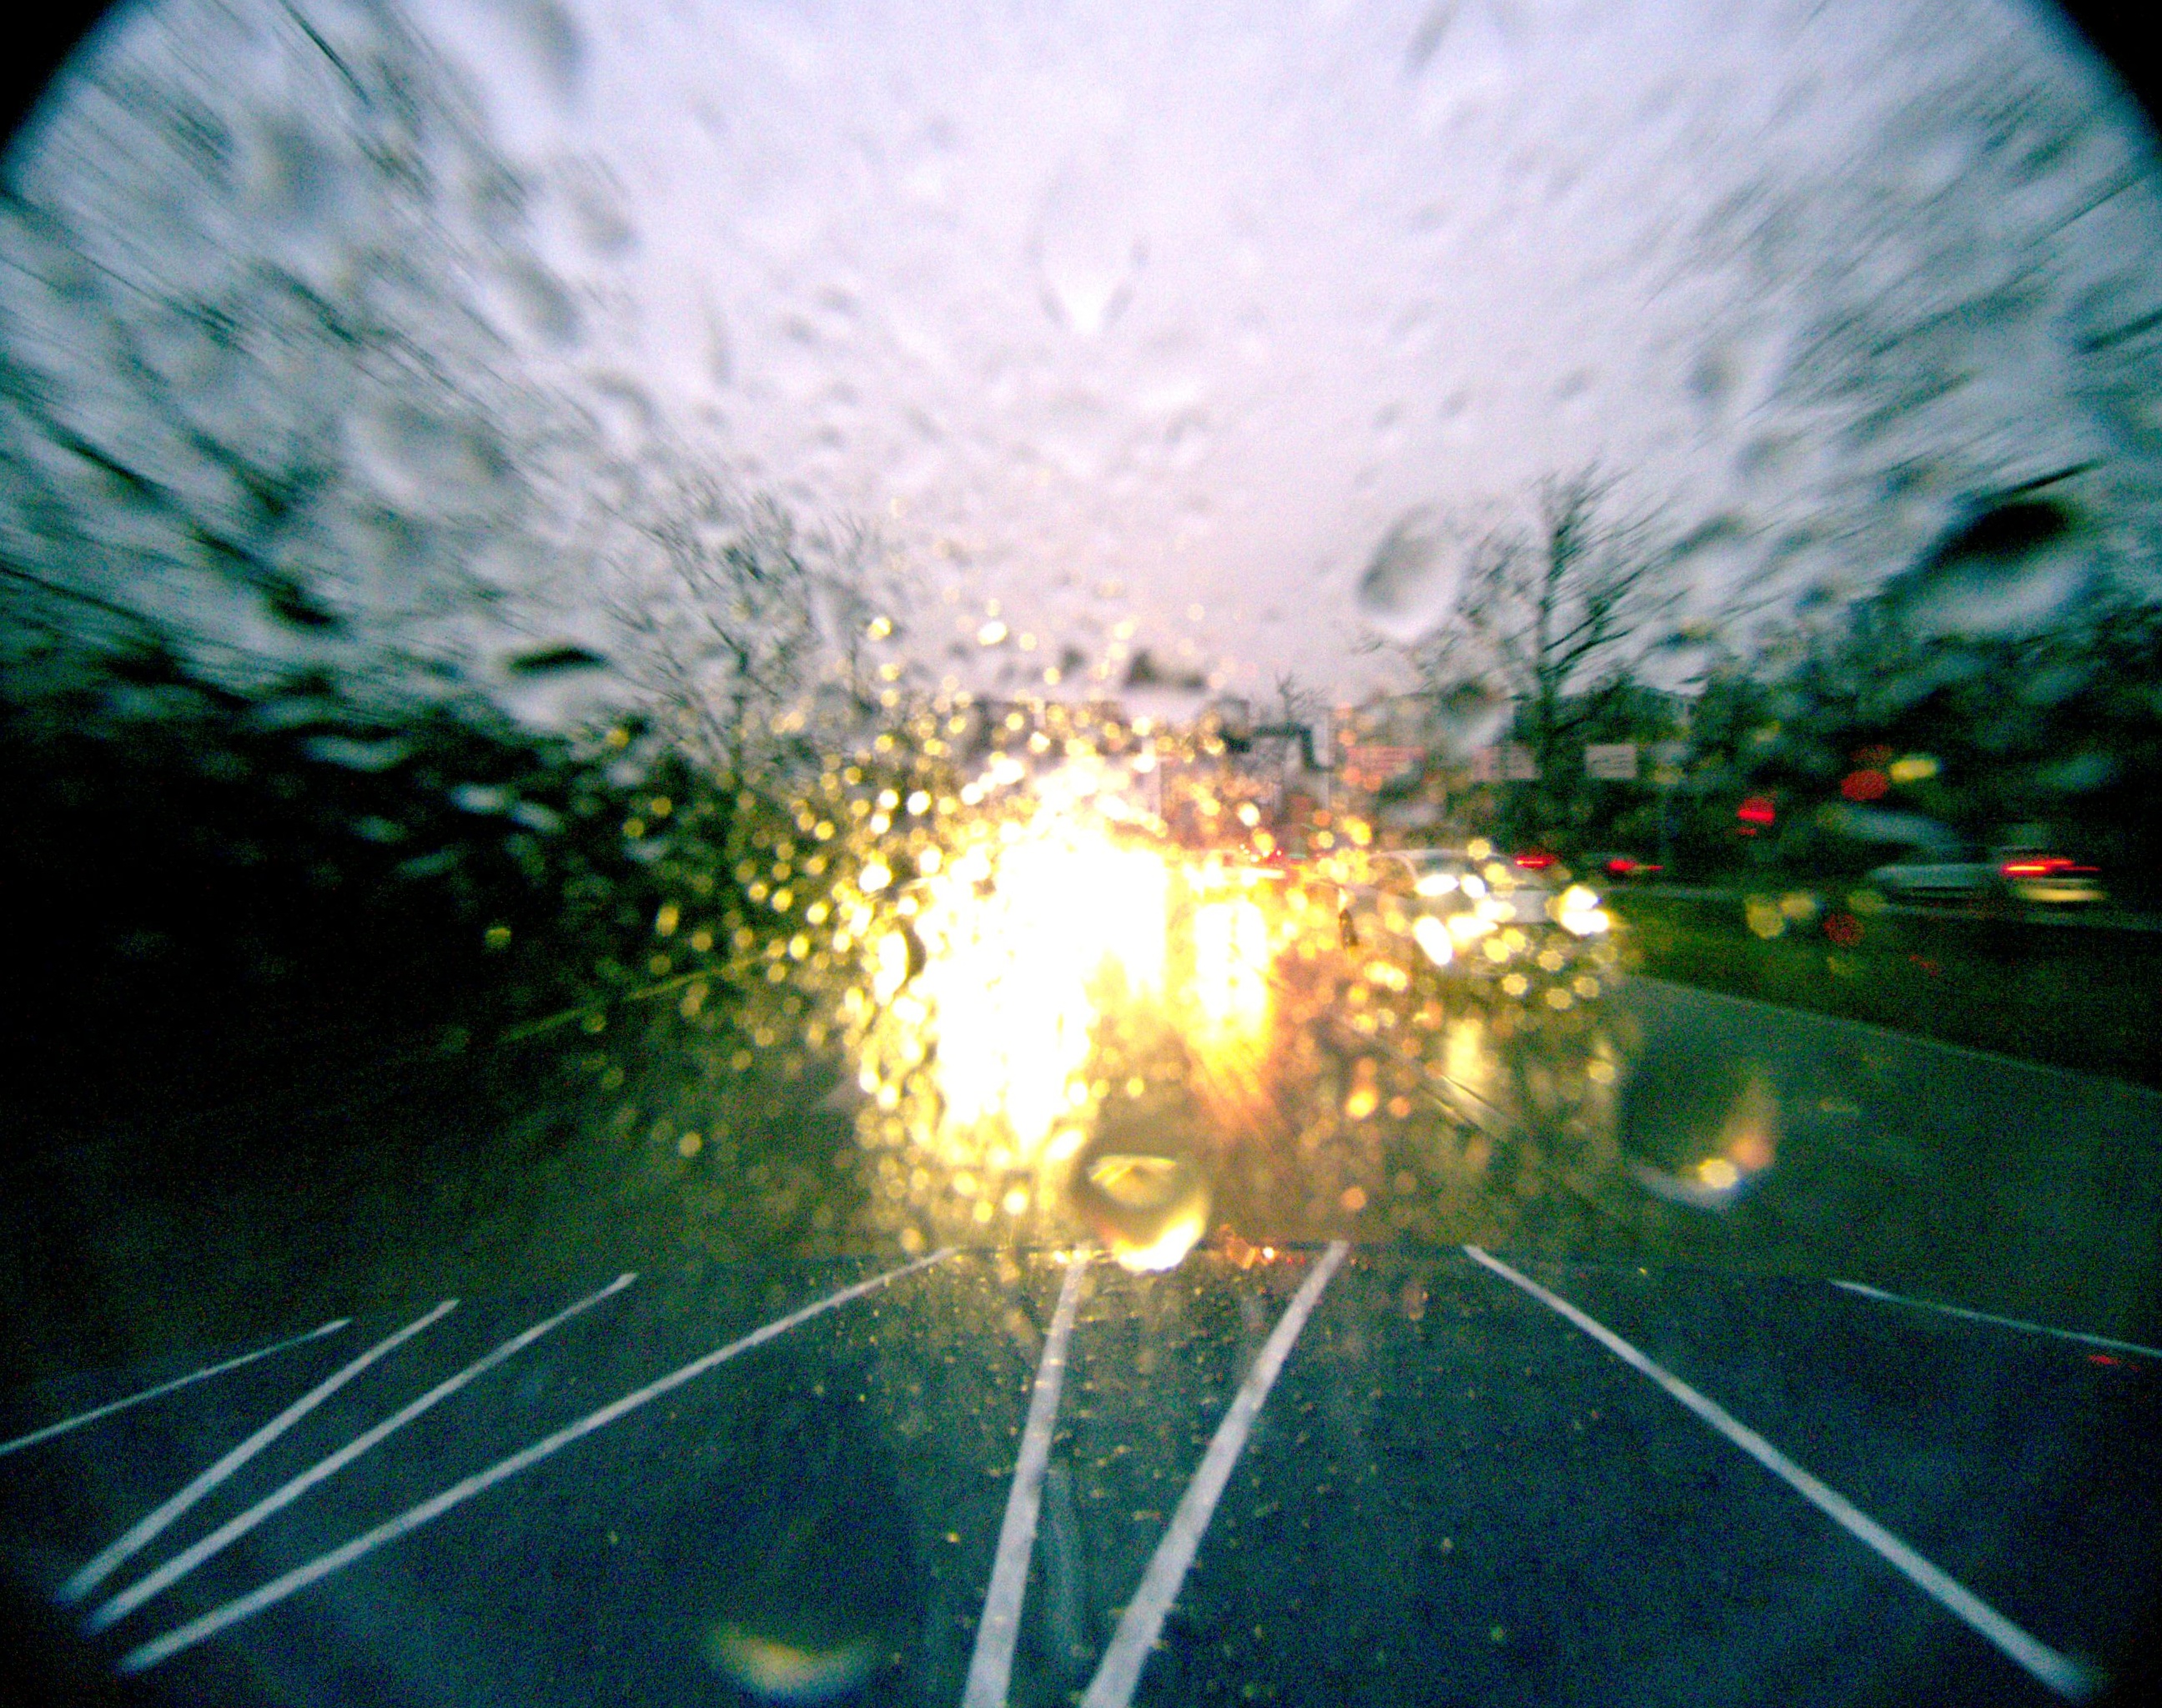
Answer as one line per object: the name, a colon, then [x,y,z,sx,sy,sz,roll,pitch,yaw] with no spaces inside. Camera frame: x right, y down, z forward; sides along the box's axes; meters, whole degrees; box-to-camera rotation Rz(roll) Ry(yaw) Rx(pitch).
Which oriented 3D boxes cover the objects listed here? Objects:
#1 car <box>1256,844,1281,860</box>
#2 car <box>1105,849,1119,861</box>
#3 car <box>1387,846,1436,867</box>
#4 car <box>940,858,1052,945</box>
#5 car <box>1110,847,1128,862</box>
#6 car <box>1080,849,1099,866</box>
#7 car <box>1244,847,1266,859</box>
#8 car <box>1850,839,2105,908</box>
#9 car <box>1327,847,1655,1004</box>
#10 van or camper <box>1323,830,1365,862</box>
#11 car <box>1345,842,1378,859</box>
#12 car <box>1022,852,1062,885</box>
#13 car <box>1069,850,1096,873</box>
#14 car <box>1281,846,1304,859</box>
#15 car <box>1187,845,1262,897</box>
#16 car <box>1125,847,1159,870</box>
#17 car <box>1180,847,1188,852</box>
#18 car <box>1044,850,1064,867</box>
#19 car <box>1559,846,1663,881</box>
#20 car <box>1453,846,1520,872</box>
car: [19.033,-0.199,77.151,1.574,1.494,3.999,-2,1,1]
car: [4.381,0.147,107.775,1.852,1.610,3.951,-2,1,0]
car: [22.108,0.147,50.974,1.541,1.285,4.000,-1,1,1]
car: [-1.647,0.893,16.050,1.830,1.524,4.000,-1,1,1]
car: [4.498,0.057,90.160,1.852,1.610,3.951,-2,1,0]
car: [0.887,0.306,77.979,1.852,1.610,3.951,-2,1,0]
car: [18.967,-0.125,82.926,1.459,1.190,3.999,-2,1,0]
car: [21.768,0.408,18.740,1.653,1.491,3.956,-1,1,1]
car: [4.515,0.650,9.205,1.728,1.432,4.225,-1,1,1]
van or camper: [22.351,-0.676,64.659,1.968,2.594,4.738,-1,1,1]
car: [25.383,-0.318,68.849,1.573,1.397,4.000,-2,1,2]
car: [-1.928,0.698,38.569,1.728,1.573,3.790,-1,1,1]
car: [0.123,0.485,51.195,1.728,1.456,3.790,-1,1,1]
car: [22.725,-0.188,81.798,1.428,1.266,4.000,-1,1,1]
car: [4.763,0.520,25.755,1.765,1.590,4.164,-1,1,1]
car: [4.181,0.279,52.654,2.027,1.521,4.145,-1,1,0]
car: [24.338,-1.143,179.144,1.428,1.195,4.000,-1,1,1]
car: [-2.741,0.454,77.172,1.852,1.610,3.951,-2,1,0]
car: [21.661,0.358,31.250,1.541,1.320,3.956,-1,1,1]
car: [22.003,0.246,41.392,1.541,1.304,4.000,-1,1,1]
